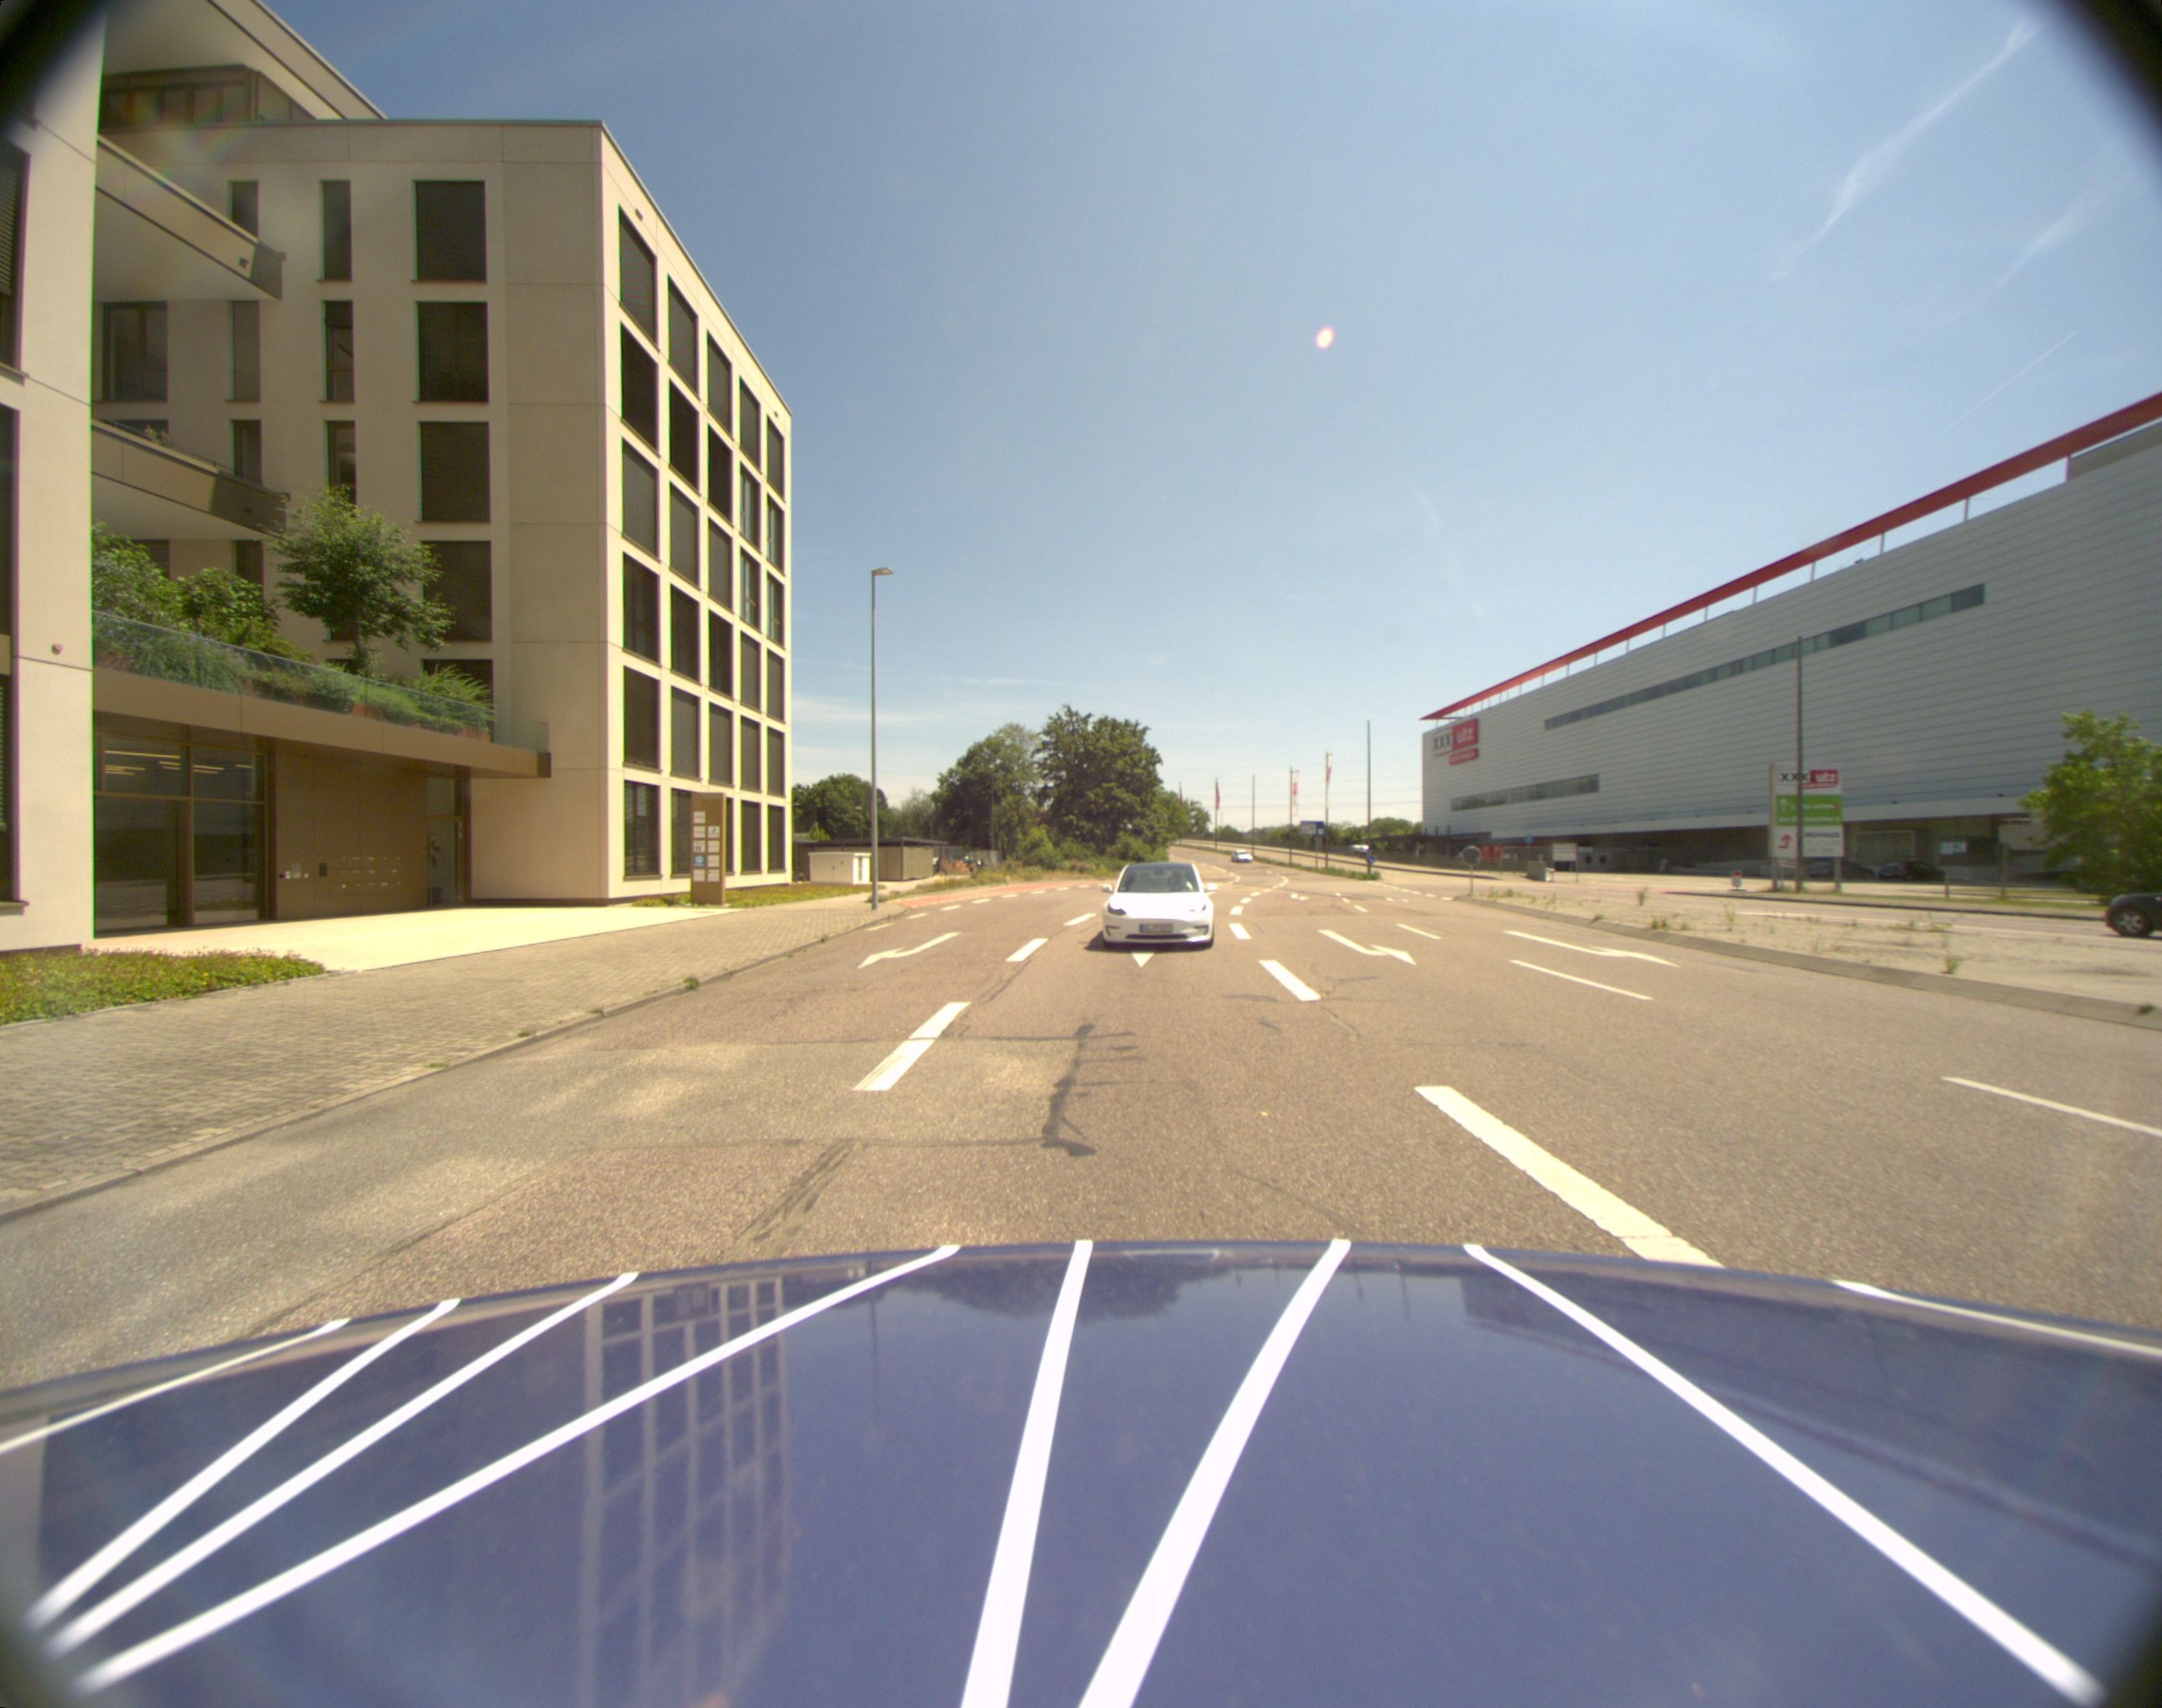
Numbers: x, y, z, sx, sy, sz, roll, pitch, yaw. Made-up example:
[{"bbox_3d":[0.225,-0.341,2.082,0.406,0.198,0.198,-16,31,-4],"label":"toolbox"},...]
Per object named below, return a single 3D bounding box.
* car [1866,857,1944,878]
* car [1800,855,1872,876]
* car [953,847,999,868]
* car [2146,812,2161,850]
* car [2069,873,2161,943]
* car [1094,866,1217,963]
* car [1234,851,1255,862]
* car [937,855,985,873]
[{"bbox_3d":[59.785,0.993,55.170,3.483,1.487,1.959,0,1,1],"label":"car"},{"bbox_3d":[59.602,0.891,60.009,3.747,1.610,1.912,0,1,0],"label":"car"},{"bbox_3d":[-10.174,0.347,73.465,4.005,1.941,1.996,0,0,-25],"label":"car"},{"bbox_3d":[50.231,-1.032,33.717,3.479,1.686,1.708,0,1,1],"label":"car"},{"bbox_3d":[21.138,1.039,13.658,1.859,1.295,3.895,1,0,6],"label":"car"},{"bbox_3d":[1.312,0.970,13.942,1.879,1.417,4.407,-1,0,4],"label":"car"},{"bbox_3d":[20.901,0.313,97.416,1.735,1.441,4.230,0,0,-1],"label":"car"},{"bbox_3d":[-10.945,0.898,69.437,4.005,1.652,1.834,0,1,-24],"label":"car"}]
